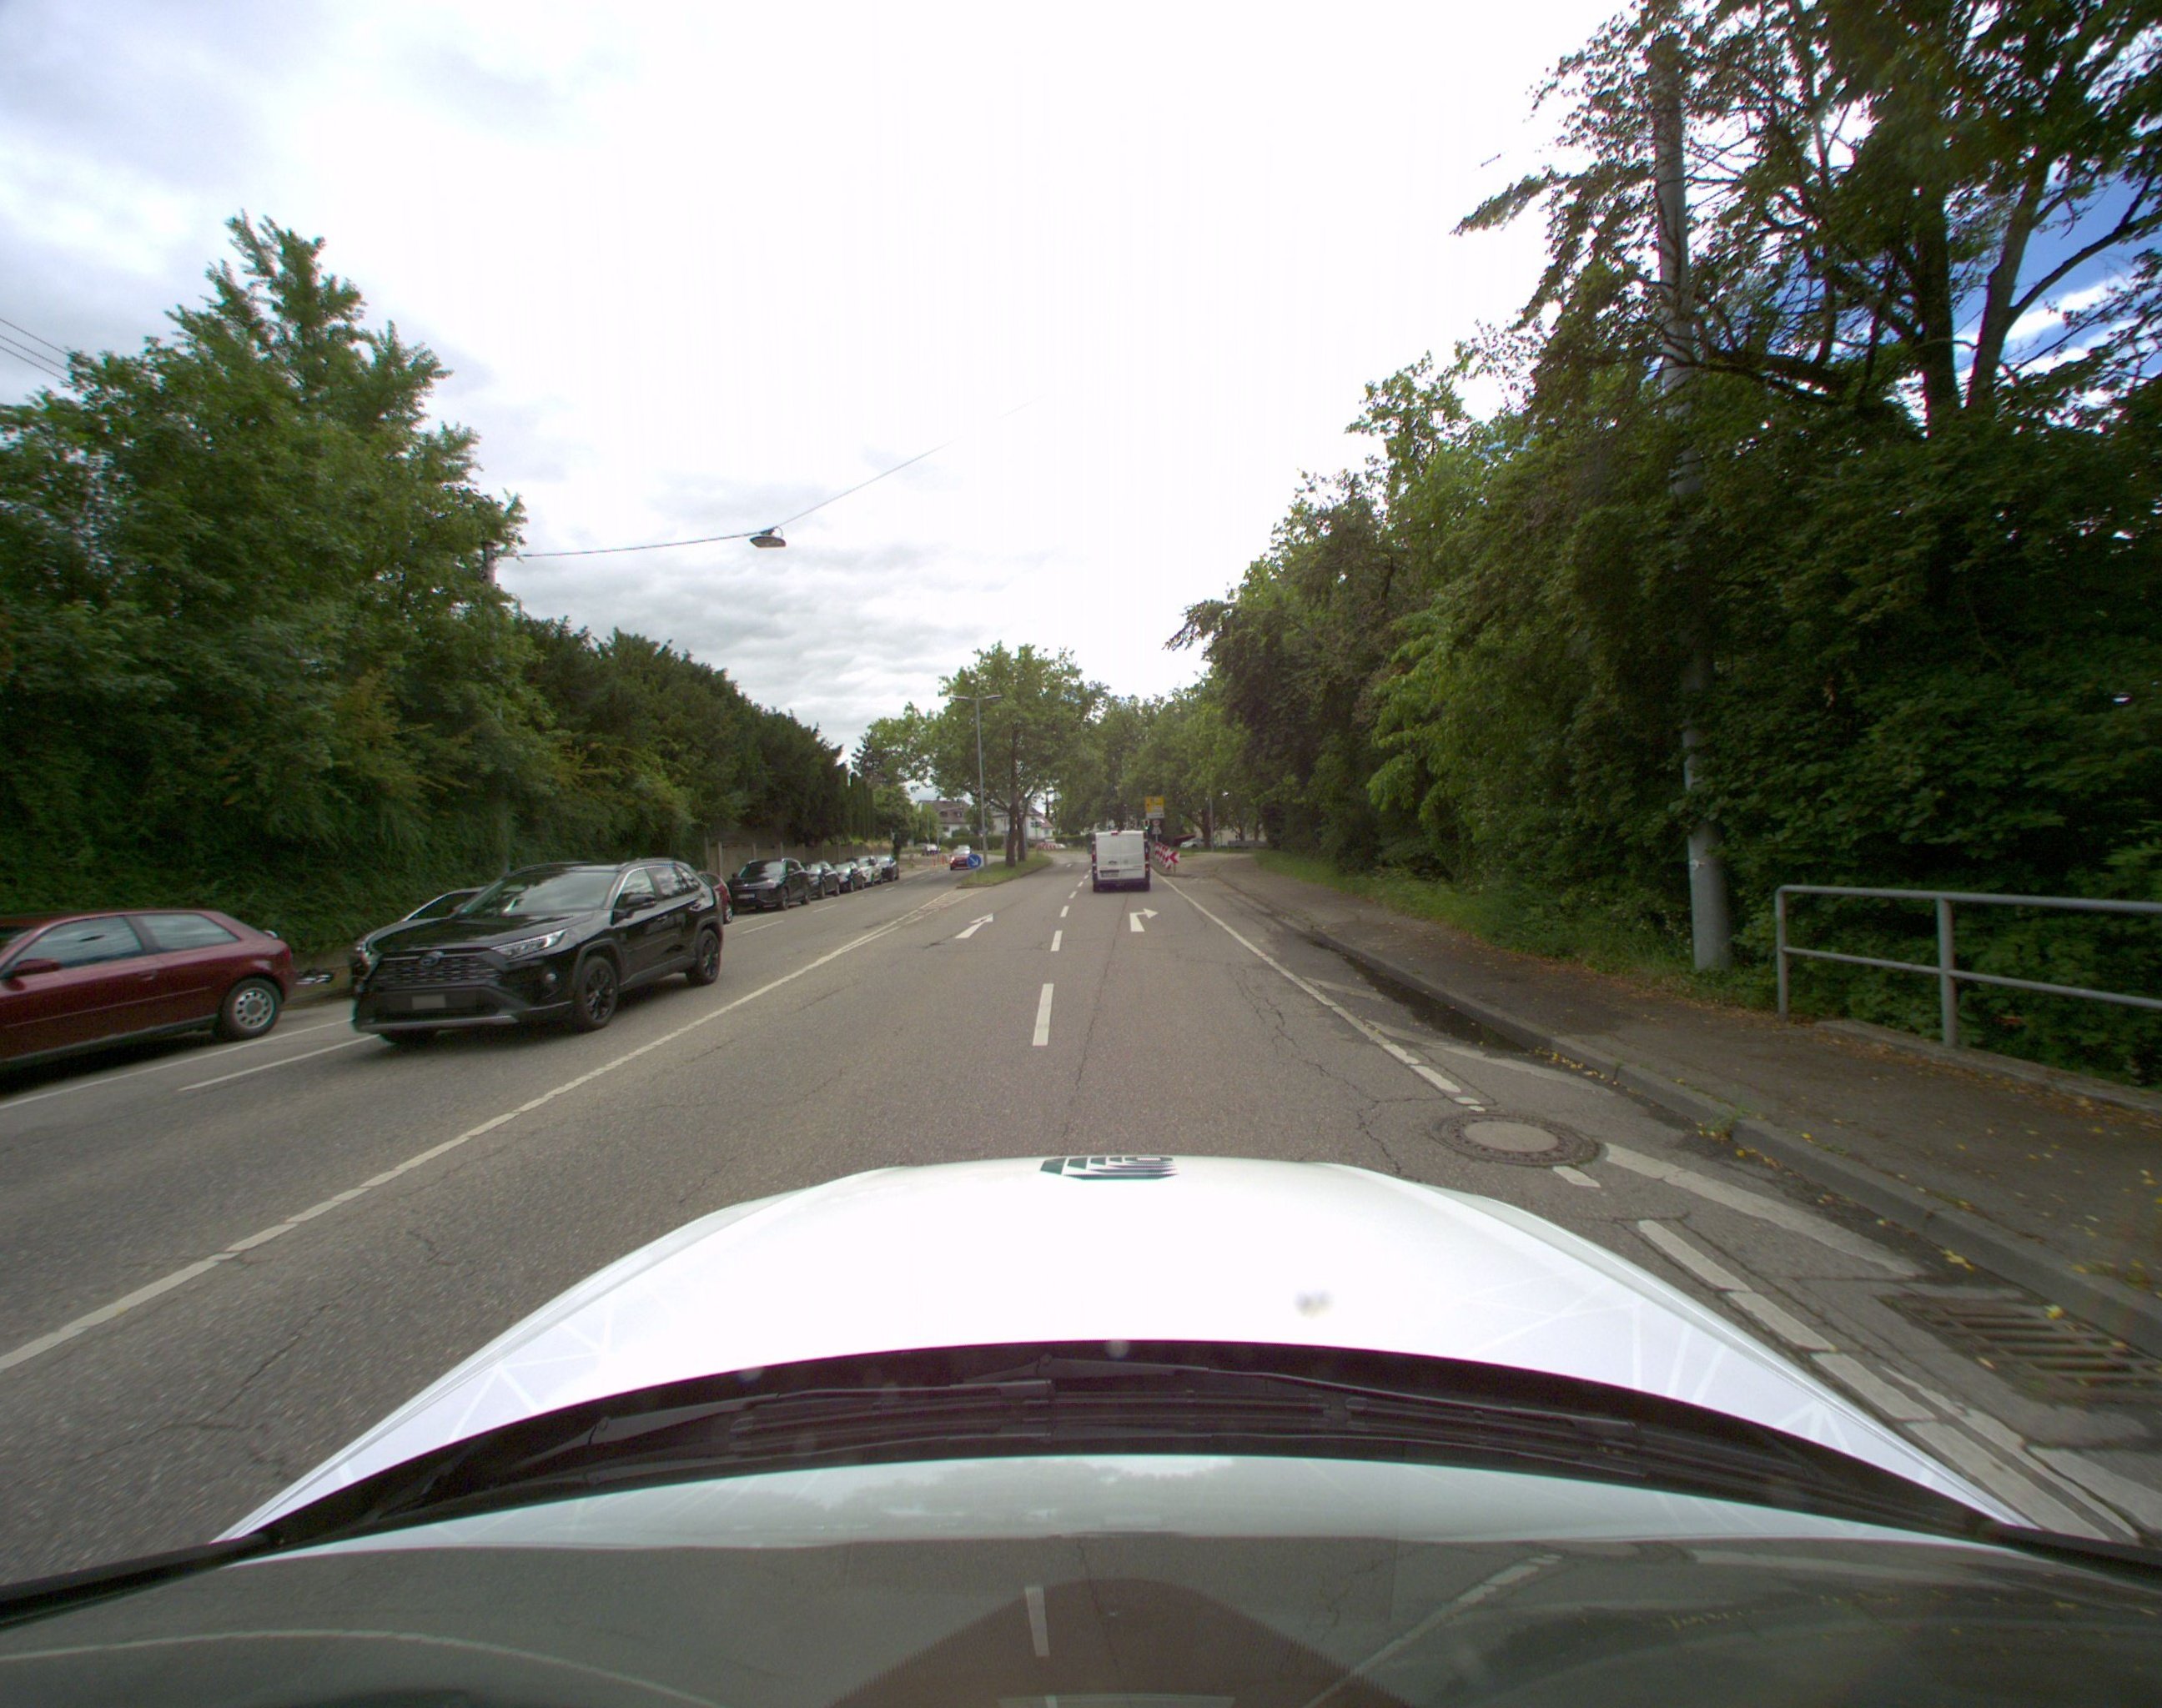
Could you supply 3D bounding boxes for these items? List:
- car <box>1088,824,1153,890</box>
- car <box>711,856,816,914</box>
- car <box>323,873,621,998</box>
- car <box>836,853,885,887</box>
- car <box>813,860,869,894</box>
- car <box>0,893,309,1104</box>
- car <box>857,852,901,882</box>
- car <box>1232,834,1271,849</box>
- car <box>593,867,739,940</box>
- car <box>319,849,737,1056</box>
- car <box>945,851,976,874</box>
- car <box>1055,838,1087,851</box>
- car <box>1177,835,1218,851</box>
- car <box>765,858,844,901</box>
[{"bbox_3d":[1.262,0.106,27.925,2.000,2.038,5.009,0,0,0],"label":"car"},{"bbox_3d":[-10.416,0.957,27.072,1.991,1.643,4.458,-3,0,-5],"label":"car"},{"bbox_3d":[-9.552,1.158,13.329,1.666,1.488,4.425,-4,0,-4],"label":"car"},{"bbox_3d":[-11.698,0.830,43.424,1.669,1.592,4.091,-4,1,-4],"label":"car"},{"bbox_3d":[-11.311,1.057,38.621,1.645,1.401,4.215,-3,0,-4],"label":"car"},{"bbox_3d":[-9.159,1.216,6.886,1.667,1.478,3.904,-4,0,-5],"label":"car"},{"bbox_3d":[-12.025,0.750,48.752,1.885,1.625,4.422,-3,0,-6],"label":"car"},{"bbox_3d":[21.359,-1.564,102.250,4.763,1.769,1.979,-3,1,-33],"label":"car"},{"bbox_3d":[-10.057,1.126,20.104,1.776,1.438,3.993,-3,0,-5],"label":"car"},{"bbox_3d":[-5.553,0.841,8.995,1.838,1.647,4.208,-3,0,-3],"label":"car"},{"bbox_3d":[-9.312,0.620,63.386,1.994,1.587,3.992,-3,0,-4],"label":"car"},{"bbox_3d":[-1.592,-1.519,129.177,4.683,1.769,2.013,-1,1,35],"label":"car"},{"bbox_3d":[13.899,-1.332,97.175,4.763,1.769,1.979,-3,1,-33],"label":"car"},{"bbox_3d":[-11.118,0.975,33.102,1.943,1.511,4.098,-4,0,-4],"label":"car"}]
